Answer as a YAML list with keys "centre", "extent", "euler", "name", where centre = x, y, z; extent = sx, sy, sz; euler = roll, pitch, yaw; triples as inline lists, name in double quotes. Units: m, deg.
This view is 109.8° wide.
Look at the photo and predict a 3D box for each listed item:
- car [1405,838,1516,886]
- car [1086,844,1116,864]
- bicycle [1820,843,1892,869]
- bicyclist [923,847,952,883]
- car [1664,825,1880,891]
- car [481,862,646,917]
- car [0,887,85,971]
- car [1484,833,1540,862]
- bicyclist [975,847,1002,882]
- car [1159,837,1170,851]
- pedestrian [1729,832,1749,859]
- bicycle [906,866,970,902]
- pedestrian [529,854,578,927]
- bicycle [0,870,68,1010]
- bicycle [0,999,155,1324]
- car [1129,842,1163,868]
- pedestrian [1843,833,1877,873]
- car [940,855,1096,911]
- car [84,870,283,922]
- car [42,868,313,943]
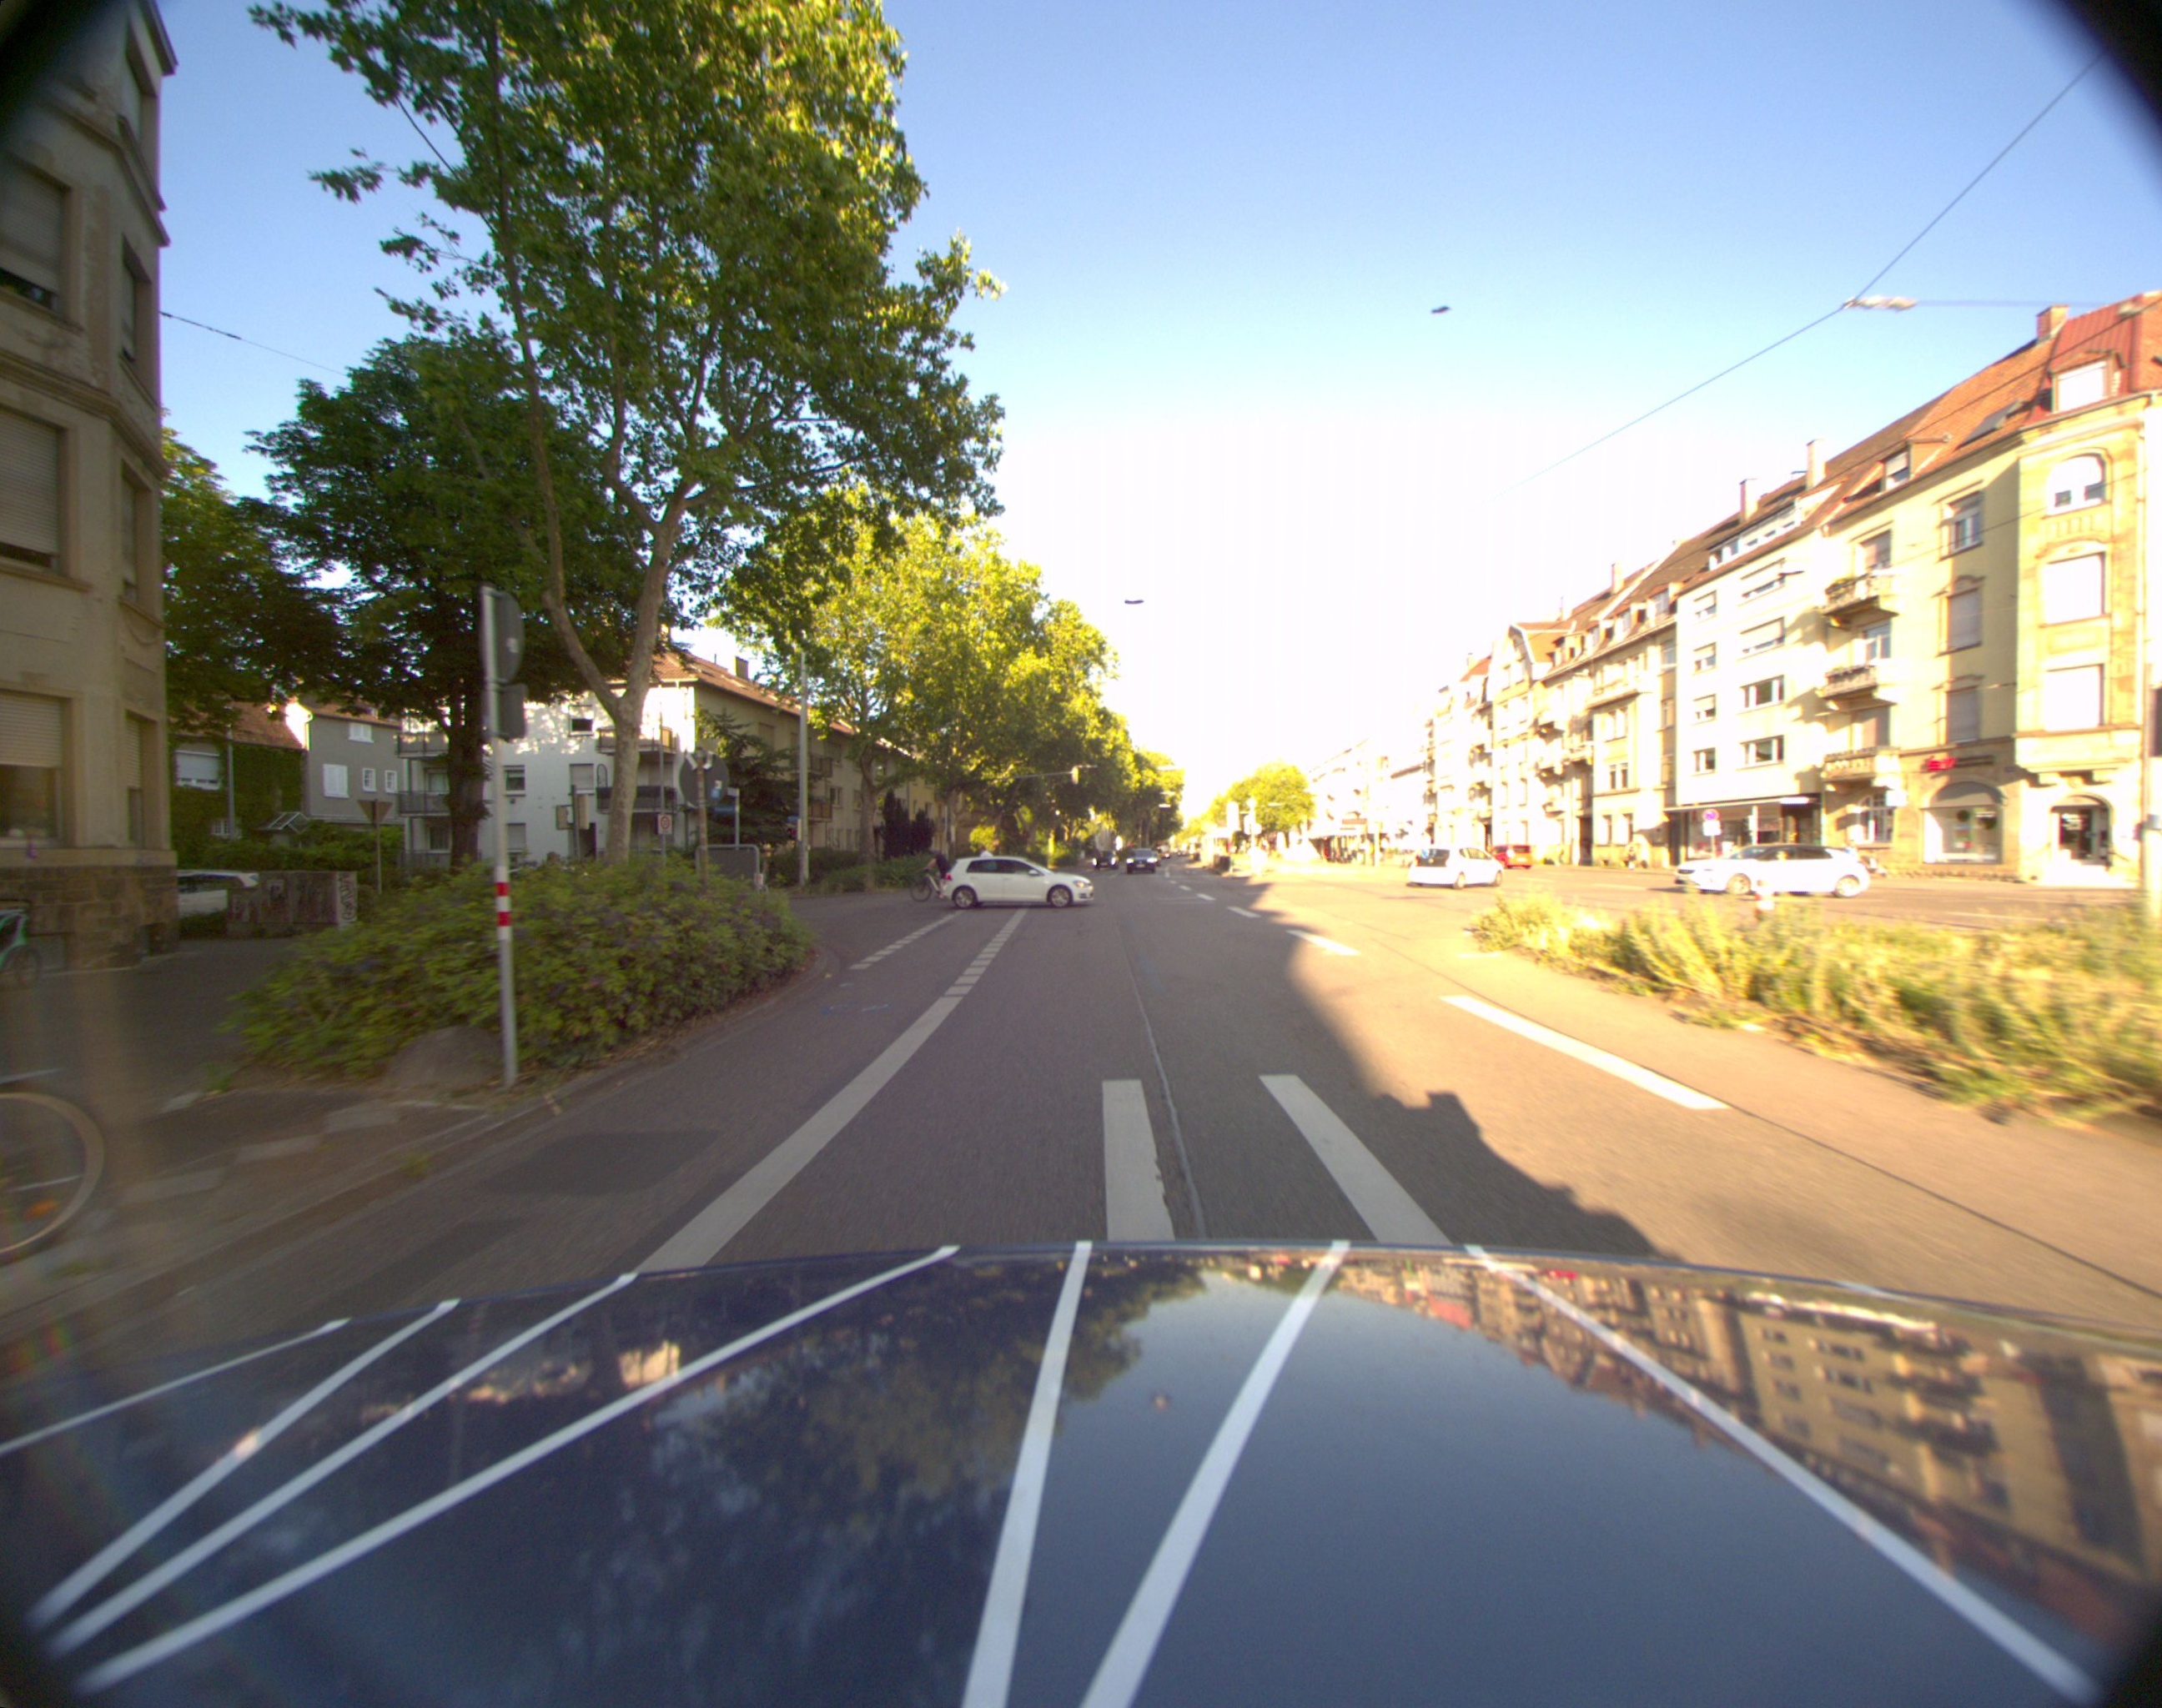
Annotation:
- centre: [12.736, 0.214, 25.441]
  extent: [3.821, 1.471, 1.733]
  euler: [-1, 1, -36]
  name: "car"
- centre: [1.709, -0.025, 63.267]
  extent: [1.876, 1.587, 4.002]
  euler: [-1, 1, 10]
  name: "car"
- centre: [33.165, 0.071, 32.572]
  extent: [0.666, 1.050, 2.503]
  euler: [-1, 1, 3]
  name: "bicycle"
- centre: [-4.754, 0.363, 25.198]
  extent: [0.766, 1.151, 0.612]
  euler: [-1, 2, 9]
  name: "bicyclist"
- centre: [18.653, 0.083, 20.712]
  extent: [3.994, 1.696, 1.836]
  euler: [-1, 2, 9]
  name: "car"
- centre: [-15.671, 1.042, 23.080]
  extent: [4.049, 1.517, 1.783]
  euler: [0, 2, 12]
  name: "car"
- centre: [-13.261, 0.904, 9.356]
  extent: [0.929, 0.943, 1.062]
  euler: [3, -1, -37]
  name: "car"
- centre: [30.286, -0.498, 53.571]
  extent: [1.918, 1.889, 4.310]
  euler: [-1, 2, 7]
  name: "car"
- centre: [-3.295, 0.360, 27.038]
  extent: [0.766, 1.229, 0.661]
  euler: [-1, 2, 9]
  name: "bicyclist"
- centre: [14.665, -1.754, 133.883]
  extent: [1.877, 2.279, 4.001]
  euler: [-1, 1, 6]
  name: "car"
- centre: [33.365, -0.443, 38.532]
  extent: [0.553, 1.355, 0.555]
  euler: [-1, 1, 6]
  name: "pedestrian"
- centre: [-4.754, 0.998, 25.224]
  extent: [1.921, 1.099, 0.653]
  euler: [-3, 2, 9]
  name: "bicycle"
- centre: [-13.362, 0.908, 19.266]
  extent: [0.665, 1.796, 0.703]
  euler: [0, 2, 14]
  name: "pedestrian"
- centre: [-12.201, 0.964, 8.056]
  extent: [0.955, 1.464, 3.149]
  euler: [-3, 3, -39]
  name: "bicycle"
- centre: [-4.045, 1.132, 2.159]
  extent: [0.370, 1.062, 1.874]
  euler: [-1, 1, 5]
  name: "bicycle"
- centre: [4.380, 0.045, 50.758]
  extent: [1.876, 1.587, 4.002]
  euler: [-1, 1, 10]
  name: "car"
- centre: [32.426, -0.040, 31.653]
  extent: [0.630, 1.631, 0.770]
  euler: [-1, 1, 4]
  name: "pedestrian"
- centre: [-1.720, 0.796, 21.581]
  extent: [4.105, 1.442, 1.845]
  euler: [-1, 2, 8]
  name: "car"
- centre: [-28.949, 1.332, 24.581]
  extent: [4.747, 1.509, 1.845]
  euler: [-1, 2, 8]
  name: "car"
- centre: [-22.152, 1.190, 18.919]
  extent: [1.682, 1.566, 4.050]
  euler: [-1, 0, 7]
  name: "car"
